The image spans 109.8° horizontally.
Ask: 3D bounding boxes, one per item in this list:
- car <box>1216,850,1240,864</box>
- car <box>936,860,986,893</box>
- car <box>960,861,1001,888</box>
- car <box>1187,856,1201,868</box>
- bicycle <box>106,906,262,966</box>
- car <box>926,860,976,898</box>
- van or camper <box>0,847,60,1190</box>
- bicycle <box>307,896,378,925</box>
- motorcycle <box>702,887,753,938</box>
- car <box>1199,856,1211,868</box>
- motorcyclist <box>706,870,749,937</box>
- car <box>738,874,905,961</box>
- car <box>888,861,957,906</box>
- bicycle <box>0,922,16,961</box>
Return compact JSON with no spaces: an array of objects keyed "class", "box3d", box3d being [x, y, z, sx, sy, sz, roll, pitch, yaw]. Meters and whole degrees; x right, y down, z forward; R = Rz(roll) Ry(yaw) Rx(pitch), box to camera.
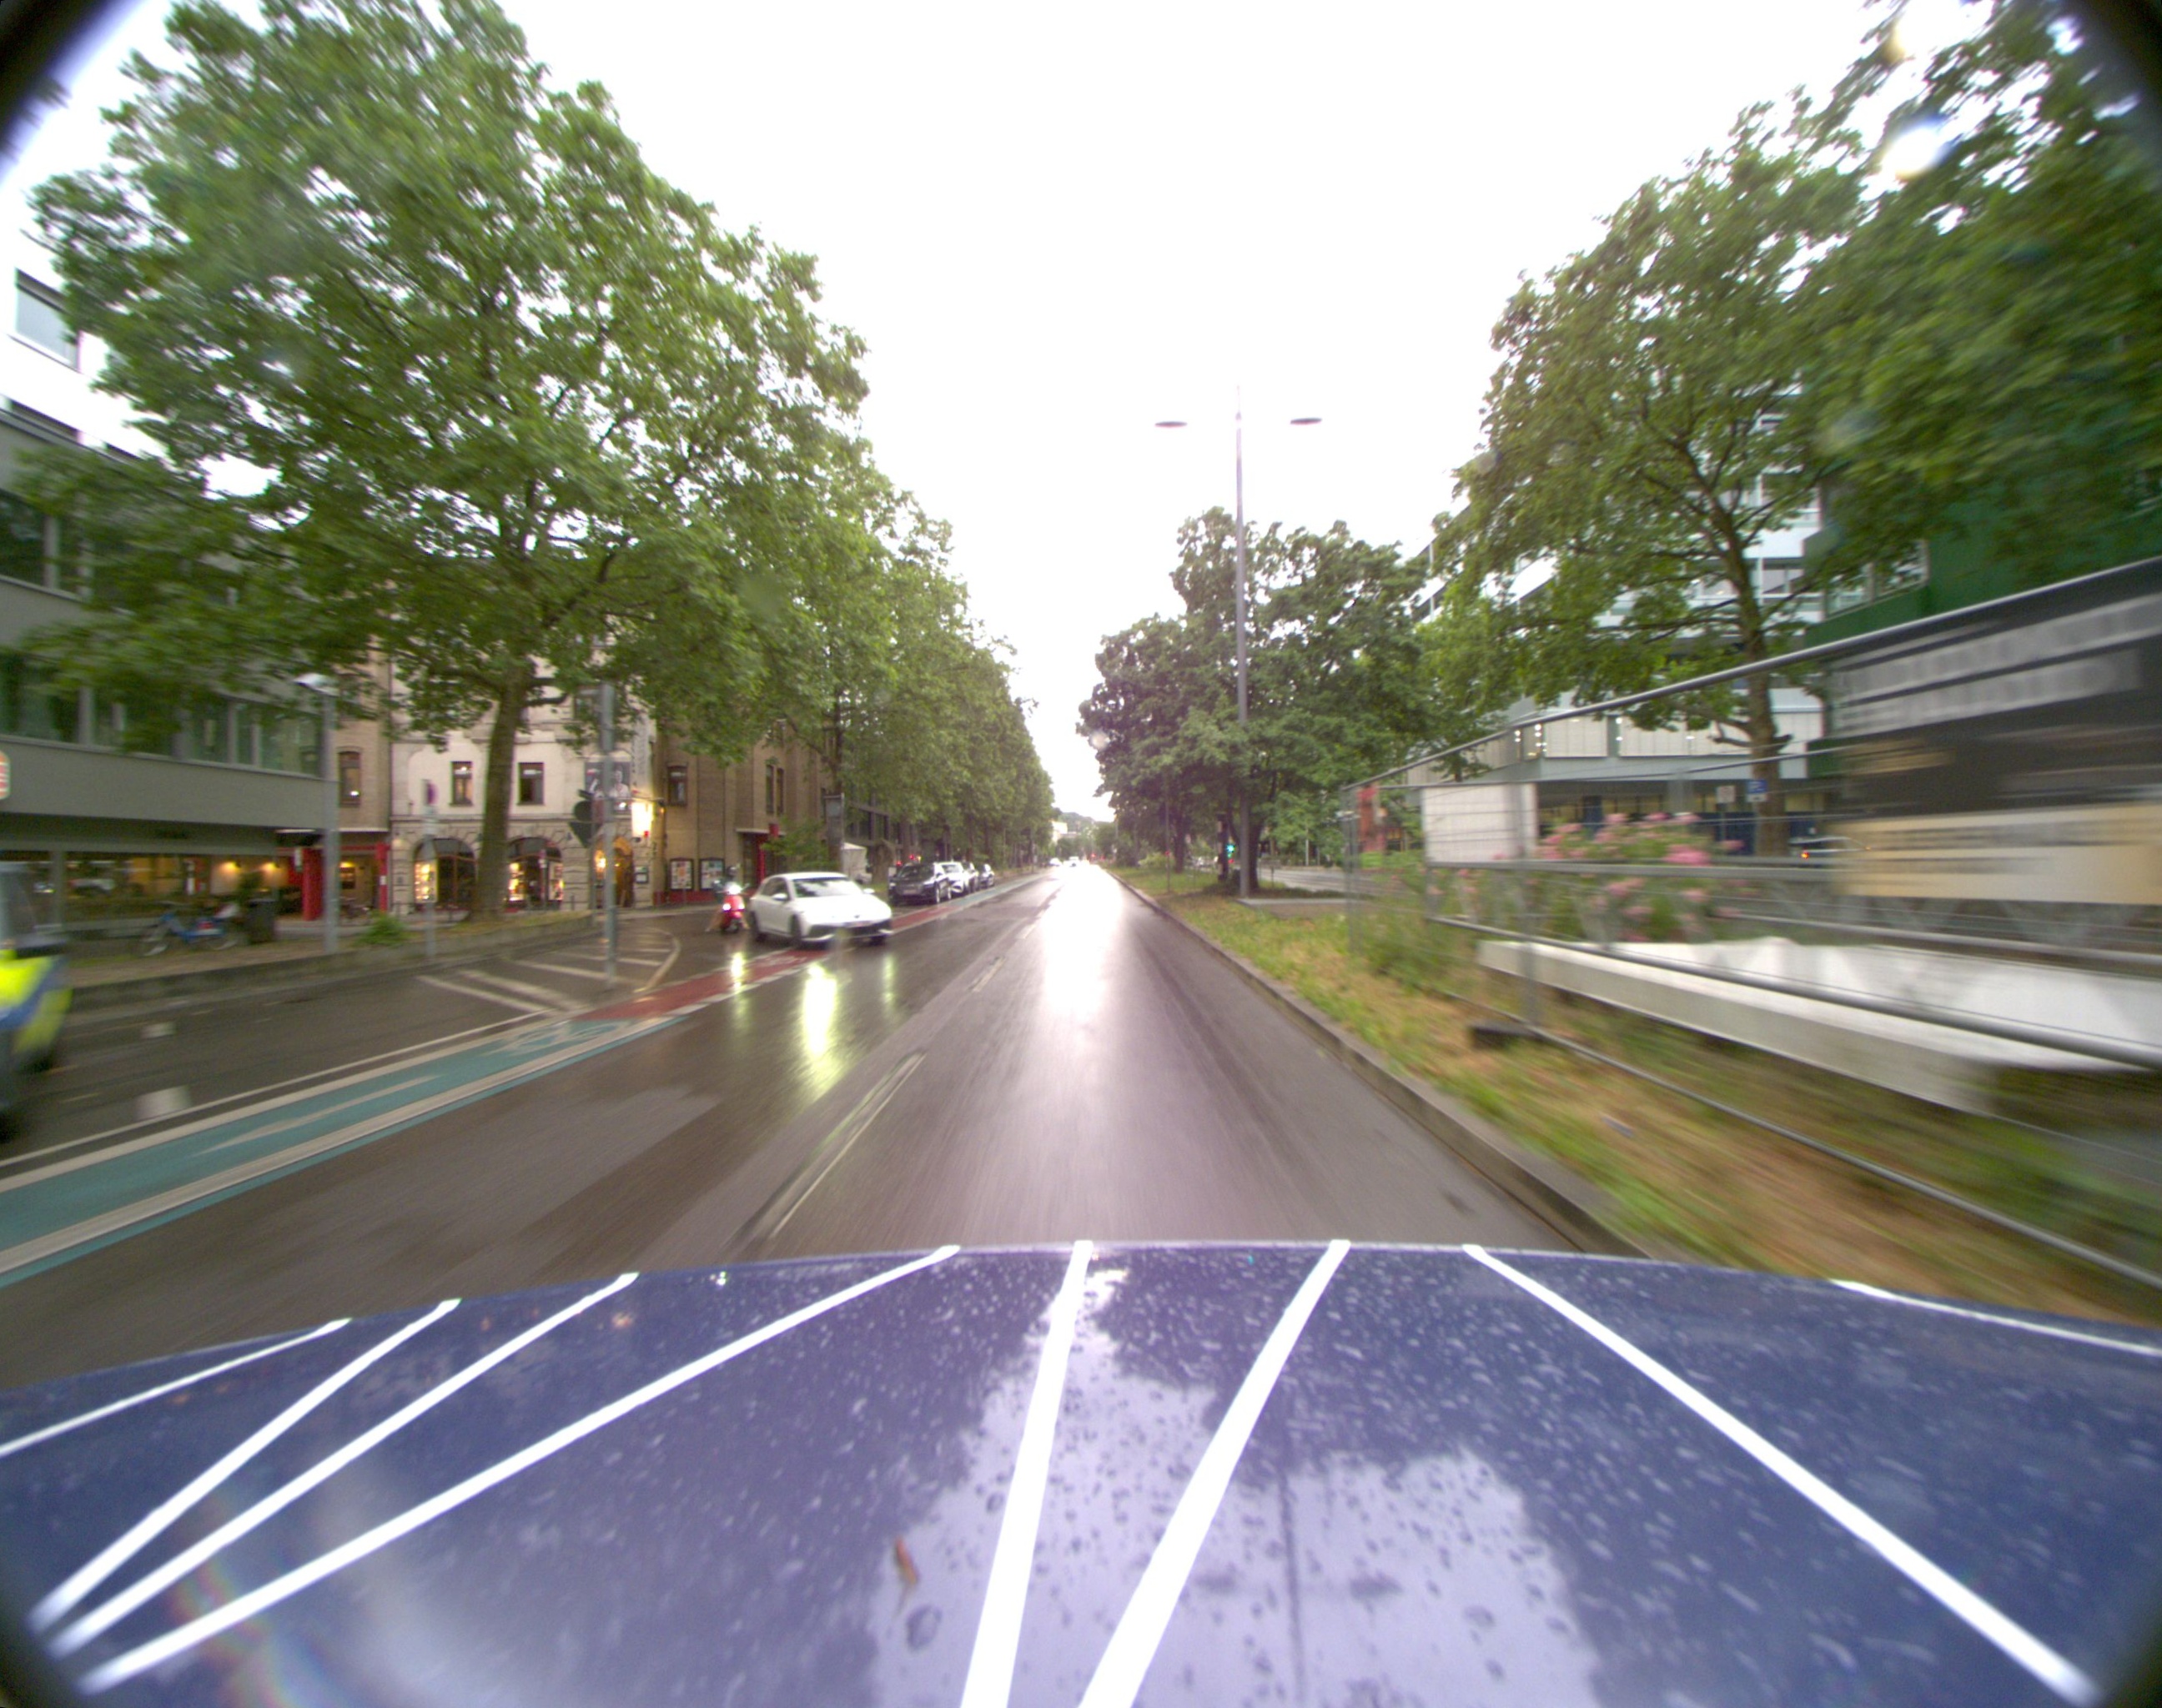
[{"class":"car","box3d":[16.125,0.302,83.346,1.998,1.483,4.757,0,0,4]},{"class":"car","box3d":[-6.339,1.149,40.757,1.999,1.580,4.560,-2,0,-1]},{"class":"car","box3d":[-6.068,1.200,46.318,1.747,1.424,4.586,-2,0,1]},{"class":"car","box3d":[18.055,1.242,121.875,1.997,1.791,4.284,-1,0,6]},{"class":"bicycle","box3d":[-17.932,1.603,15.263,0.642,0.917,1.914,11,0,4]},{"class":"car","box3d":[-6.015,1.105,35.539,1.756,1.576,4.409,-2,0,-3]},{"class":"van or camper","box3d":[-8.715,1.019,5.068,4.934,1.980,2.006,-2,1,39]},{"class":"bicycle","box3d":[-25.910,1.981,26.658,1.971,0.932,0.625,-2,0,5]},{"class":"motorcycle","box3d":[-9.054,1.464,19.522,0.869,1.136,2.019,-2,0,-17]},{"class":"car","box3d":[16.184,1.025,99.508,1.163,1.454,3.561,-1,0,3]},{"class":"motorcyclist","box3d":[-9.044,1.249,19.483,0.850,1.635,0.870,-2,0,-17]},{"class":"car","box3d":[-5.490,1.179,15.705,1.871,1.436,4.497,-2,0,-38]},{"class":"car","box3d":[-6.281,1.124,30.588,1.797,1.593,4.423,-2,0,0]},{"class":"bicycle","box3d":[-23.268,1.878,15.465,0.643,0.814,1.912,-1,0,-8]}]
